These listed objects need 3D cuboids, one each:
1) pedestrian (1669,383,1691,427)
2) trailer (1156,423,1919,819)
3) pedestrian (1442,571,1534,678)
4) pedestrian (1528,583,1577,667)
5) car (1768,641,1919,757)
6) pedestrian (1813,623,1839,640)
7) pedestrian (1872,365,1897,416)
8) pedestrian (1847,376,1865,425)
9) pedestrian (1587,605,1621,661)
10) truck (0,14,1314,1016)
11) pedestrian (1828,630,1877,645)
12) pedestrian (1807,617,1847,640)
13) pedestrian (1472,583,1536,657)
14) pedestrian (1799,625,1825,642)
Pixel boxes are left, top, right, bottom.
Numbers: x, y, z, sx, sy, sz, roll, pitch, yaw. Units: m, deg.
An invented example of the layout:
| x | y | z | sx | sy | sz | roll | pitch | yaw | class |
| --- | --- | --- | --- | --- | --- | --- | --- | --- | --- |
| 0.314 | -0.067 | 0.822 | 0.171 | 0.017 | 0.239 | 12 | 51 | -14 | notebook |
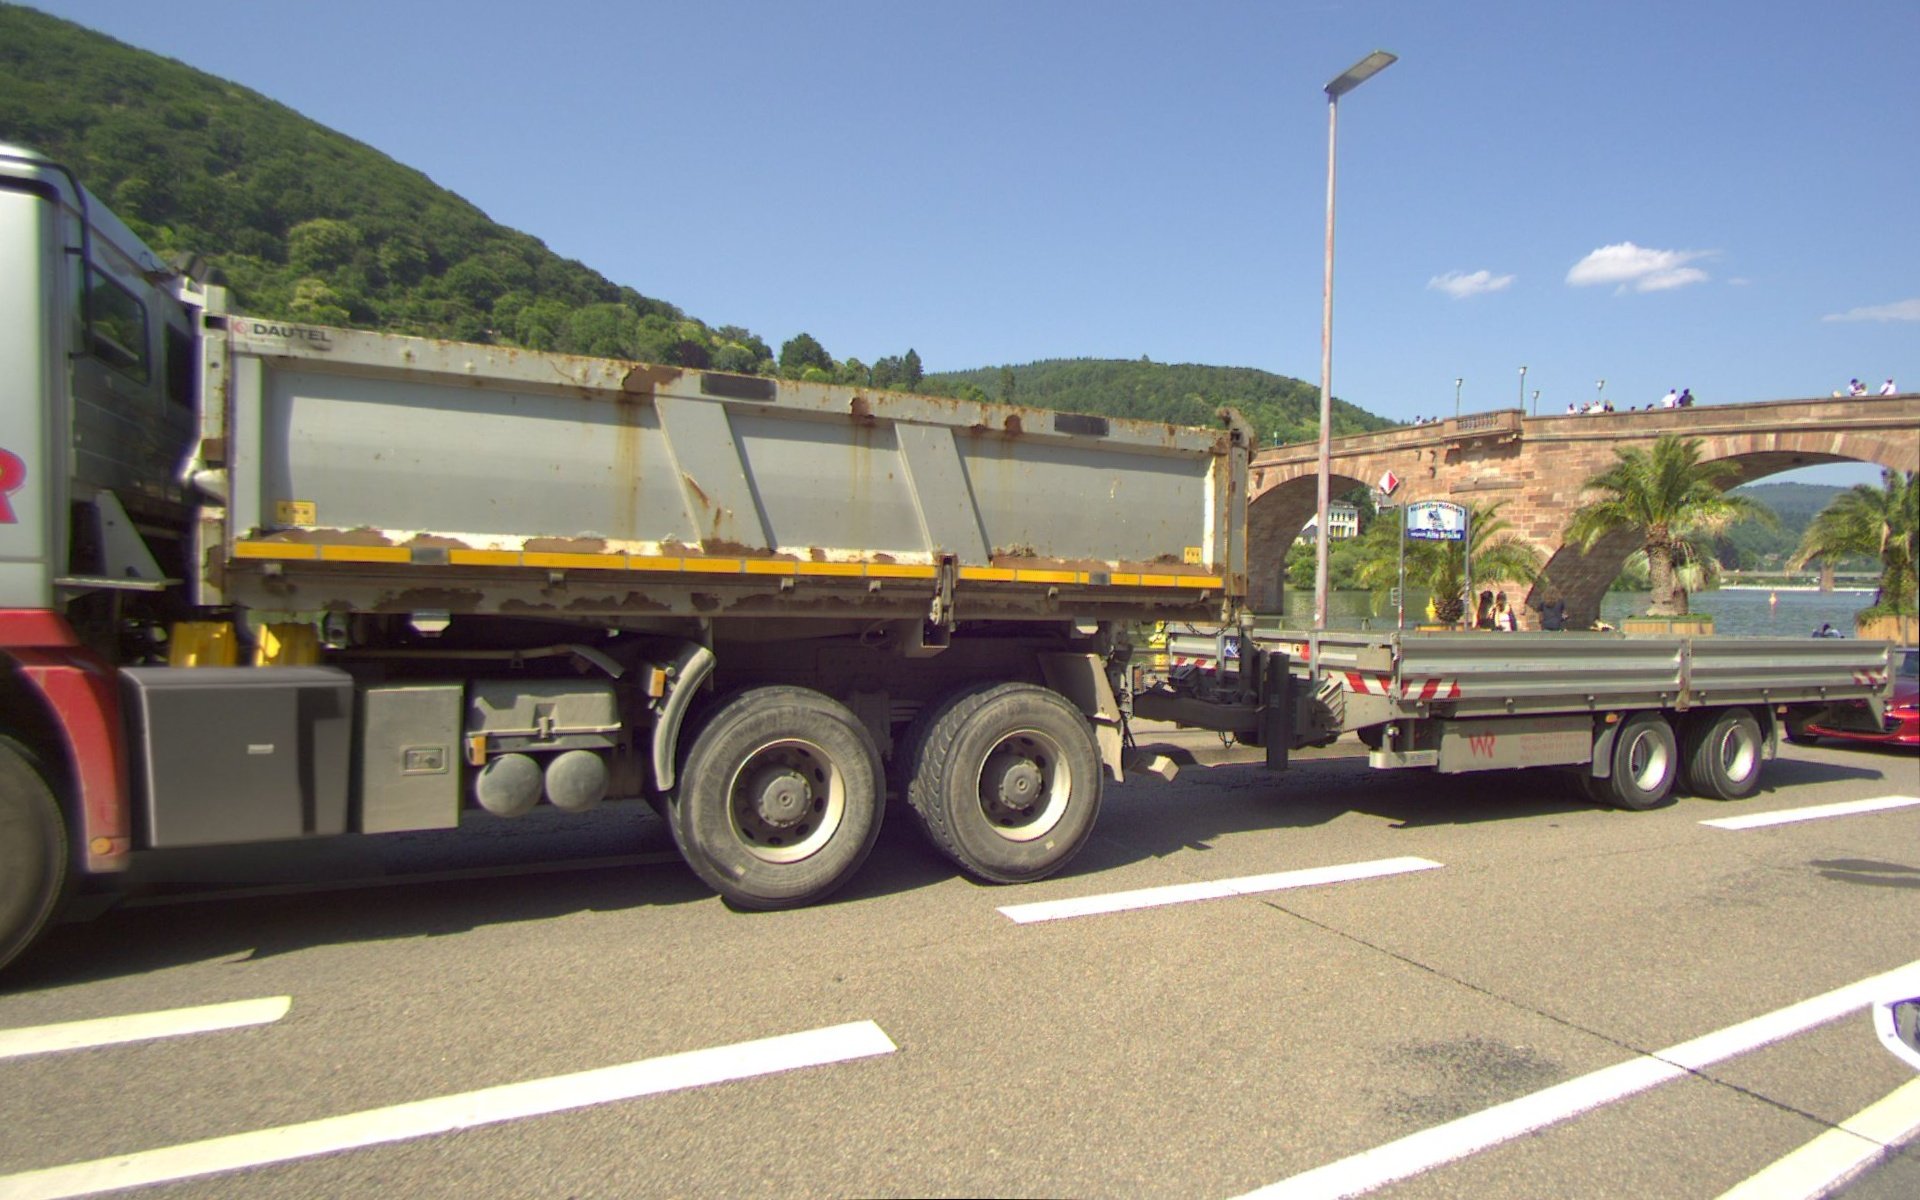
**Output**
| x | y | z | sx | sy | sz | roll | pitch | yaw | class |
| --- | --- | --- | --- | --- | --- | --- | --- | --- | --- |
| 36.176 | -9.802 | 50.481 | 0.618 | 2.040 | 0.689 | 0 | 1 | -31 | pedestrian |
| 5.410 | 0.215 | 9.182 | 6.853 | 2.564 | 2.690 | 1 | -1 | -25 | trailer |
| 8.786 | 0.388 | 16.732 | 1.136 | 1.724 | 0.813 | 1 | 1 | -27 | pedestrian |
| 12.477 | 0.510 | 21.188 | 0.781 | 1.714 | 0.845 | 1 | 2 | 26 | pedestrian |
| 11.848 | 1.144 | 12.385 | 3.582 | 1.210 | 1.665 | 1 | -1 | -27 | car |
| 29.446 | 1.072 | 34.148 | 0.506 | 0.571 | 0.463 | 0 | -3 | -18 | pedestrian |
| 40.350 | -9.128 | 43.837 | 0.688 | 2.040 | 0.619 | 0 | 1 | -35 | pedestrian |
| 40.113 | -8.915 | 44.974 | 0.549 | 2.040 | 0.455 | 0 | 1 | -35 | pedestrian |
| 19.015 | 0.962 | 29.660 | 0.589 | 1.623 | 0.673 | -1 | 2 | -36 | pedestrian |
| -1.913 | -0.248 | 5.647 | 7.764 | 3.502 | 2.634 | 1 | -1 | -25 | truck |
| 29.090 | 1.219 | 32.731 | 1.719 | 0.427 | 0.642 | 0 | -1 | -27 | pedestrian |
| 29.642 | 0.972 | 34.337 | 0.699 | 0.753 | 0.786 | 0 | 1 | -18 | pedestrian |
| 11.702 | 0.445 | 21.609 | 1.105 | 1.554 | 0.788 | 1 | -3 | -36 | pedestrian |
| 28.379 | 1.123 | 33.463 | 0.506 | 0.571 | 0.463 | 0 | -3 | -18 | pedestrian |
